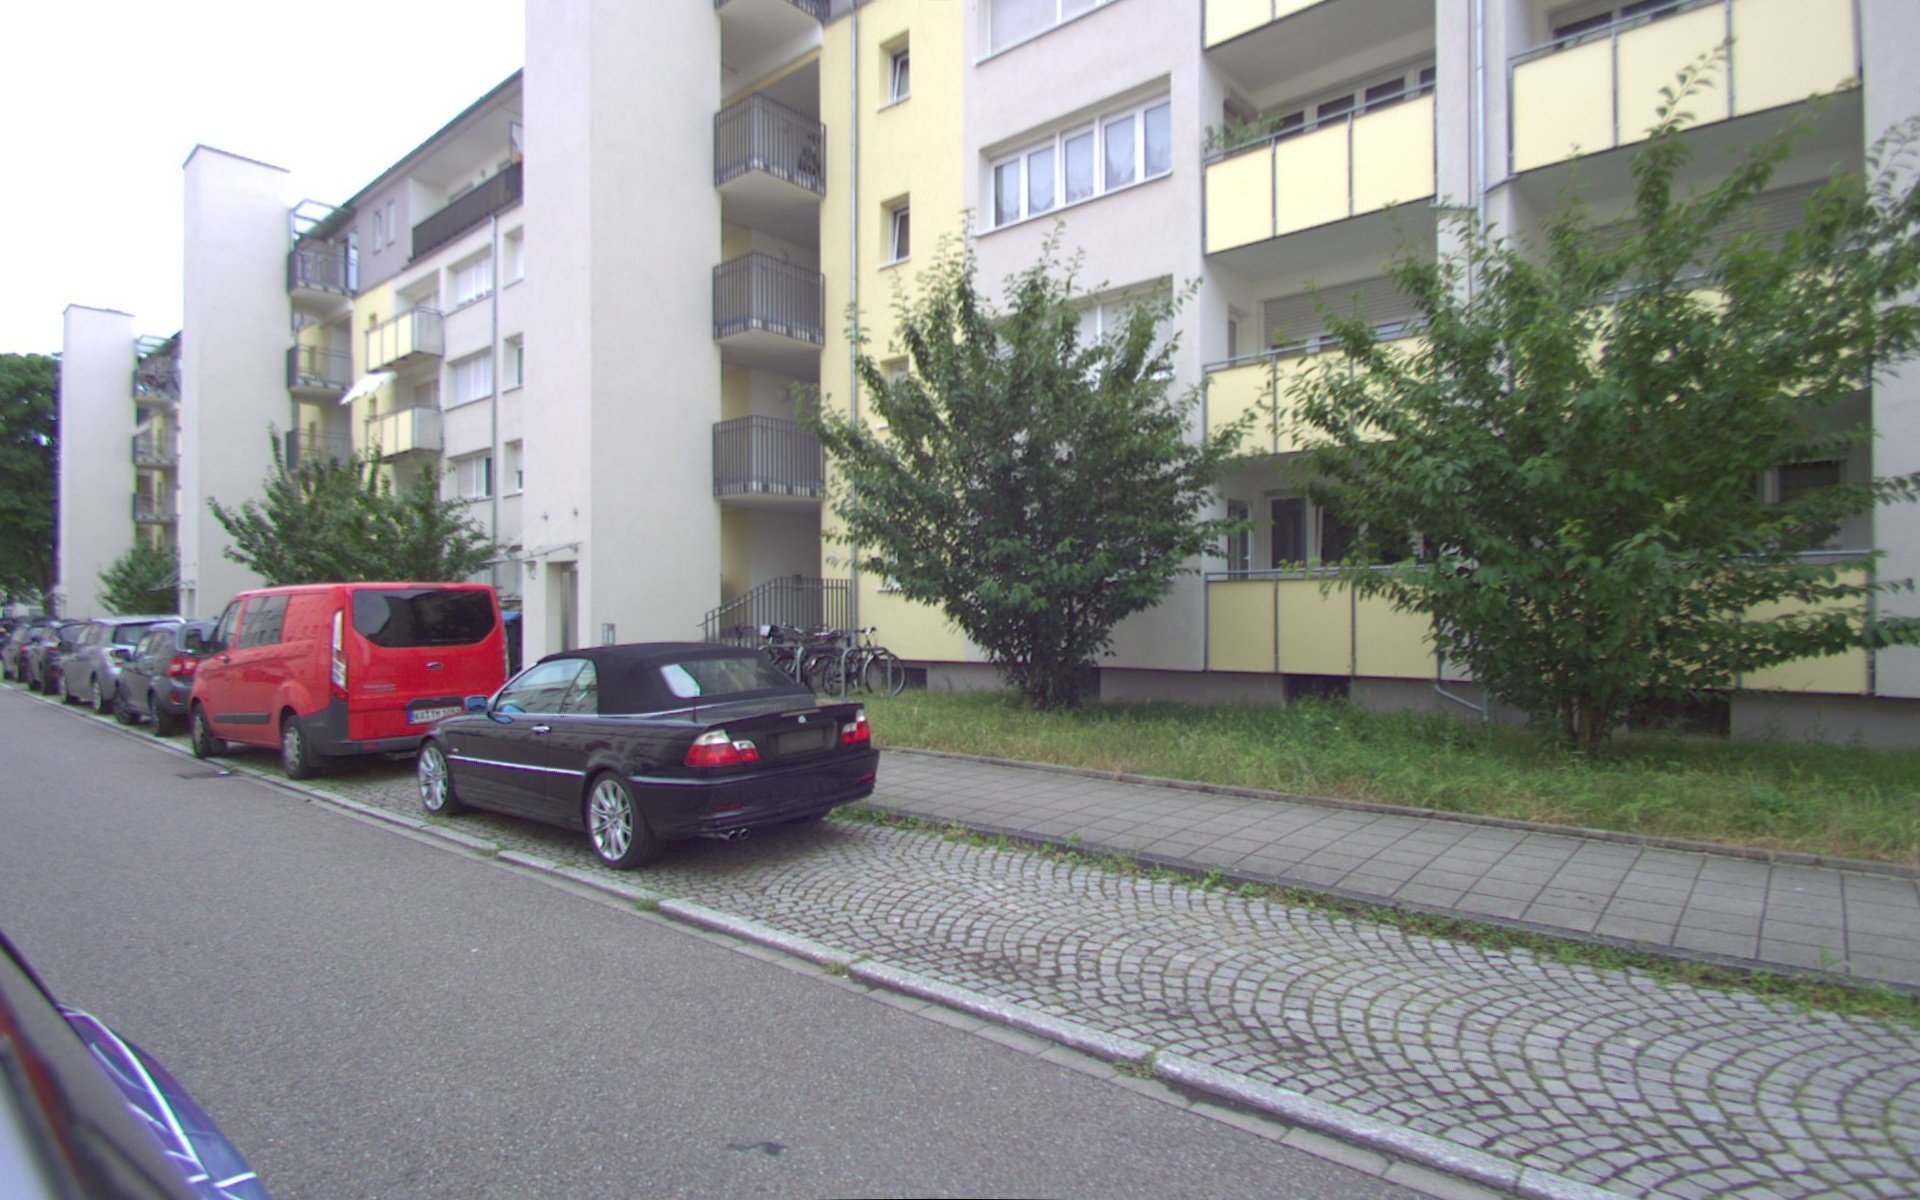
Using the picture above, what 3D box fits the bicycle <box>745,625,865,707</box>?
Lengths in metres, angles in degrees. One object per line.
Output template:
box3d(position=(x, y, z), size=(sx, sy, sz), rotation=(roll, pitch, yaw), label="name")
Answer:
box3d(position=(-2.279, 0.949, 15.092), size=(0.570, 1.127, 1.815), rotation=(-2, -1, 42), label="bicycle")

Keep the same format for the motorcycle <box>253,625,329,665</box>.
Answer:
box3d(position=(-19.625, 1.305, 29.715), size=(0.593, 1.138, 1.732), rotation=(-2, -3, 37), label="motorcycle")

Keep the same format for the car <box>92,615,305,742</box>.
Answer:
box3d(position=(-11.435, 1.059, 15.100), size=(4.052, 1.582, 1.703), rotation=(-1, 0, 41), label="car")

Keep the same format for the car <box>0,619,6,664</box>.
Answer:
box3d(position=(-37.305, 1.590, 37.953), size=(4.469, 1.639, 1.781), rotation=(-2, 0, 41), label="car")

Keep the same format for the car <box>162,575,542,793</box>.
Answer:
box3d(position=(-7.073, 0.781, 11.550), size=(4.916, 1.968, 2.131), rotation=(-1, 0, 39), label="car")

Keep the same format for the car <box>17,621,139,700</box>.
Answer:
box3d(position=(-19.494, 1.260, 22.317), size=(3.895, 1.542, 1.635), rotation=(-1, 0, 43), label="car")

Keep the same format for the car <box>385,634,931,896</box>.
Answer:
box3d(position=(-2.469, 0.973, 7.655), size=(4.358, 1.333, 1.851), rotation=(-1, 0, 40), label="car")

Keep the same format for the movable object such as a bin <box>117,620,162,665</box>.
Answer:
box3d(position=(-27.819, 1.416, 34.319), size=(1.314, 1.458, 0.991), rotation=(-1, -1, 41), label="movable object such as a bin")

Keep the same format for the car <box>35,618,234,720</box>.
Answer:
box3d(position=(-15.149, 1.163, 18.478), size=(4.856, 1.582, 1.817), rotation=(-1, 0, 39), label="car")

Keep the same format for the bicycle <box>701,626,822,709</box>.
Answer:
box3d(position=(-2.978, 0.982, 15.307), size=(0.604, 1.127, 1.816), rotation=(-2, -1, 39), label="bicycle")

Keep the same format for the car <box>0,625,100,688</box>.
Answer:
box3d(position=(-23.632, 1.395, 26.102), size=(3.854, 1.449, 1.626), rotation=(-1, 0, 41), label="car")

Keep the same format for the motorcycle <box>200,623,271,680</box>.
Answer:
box3d(position=(-17.694, 1.232, 24.699), size=(2.419, 1.316, 0.860), rotation=(-2, 0, 41), label="motorcycle")

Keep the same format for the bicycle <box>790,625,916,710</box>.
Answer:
box3d(position=(-1.509, 0.933, 14.491), size=(1.813, 1.127, 0.571), rotation=(0, -1, -43), label="bicycle")

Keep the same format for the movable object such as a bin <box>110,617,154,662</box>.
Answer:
box3d(position=(-28.863, 1.374, 35.279), size=(1.314, 1.512, 0.991), rotation=(-1, -1, 41), label="movable object such as a bin")

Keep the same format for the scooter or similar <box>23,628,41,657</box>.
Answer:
box3d(position=(-40.910, 1.857, 44.626), size=(1.135, 1.253, 0.432), rotation=(-2, -2, 41), label="scooter or similar")
